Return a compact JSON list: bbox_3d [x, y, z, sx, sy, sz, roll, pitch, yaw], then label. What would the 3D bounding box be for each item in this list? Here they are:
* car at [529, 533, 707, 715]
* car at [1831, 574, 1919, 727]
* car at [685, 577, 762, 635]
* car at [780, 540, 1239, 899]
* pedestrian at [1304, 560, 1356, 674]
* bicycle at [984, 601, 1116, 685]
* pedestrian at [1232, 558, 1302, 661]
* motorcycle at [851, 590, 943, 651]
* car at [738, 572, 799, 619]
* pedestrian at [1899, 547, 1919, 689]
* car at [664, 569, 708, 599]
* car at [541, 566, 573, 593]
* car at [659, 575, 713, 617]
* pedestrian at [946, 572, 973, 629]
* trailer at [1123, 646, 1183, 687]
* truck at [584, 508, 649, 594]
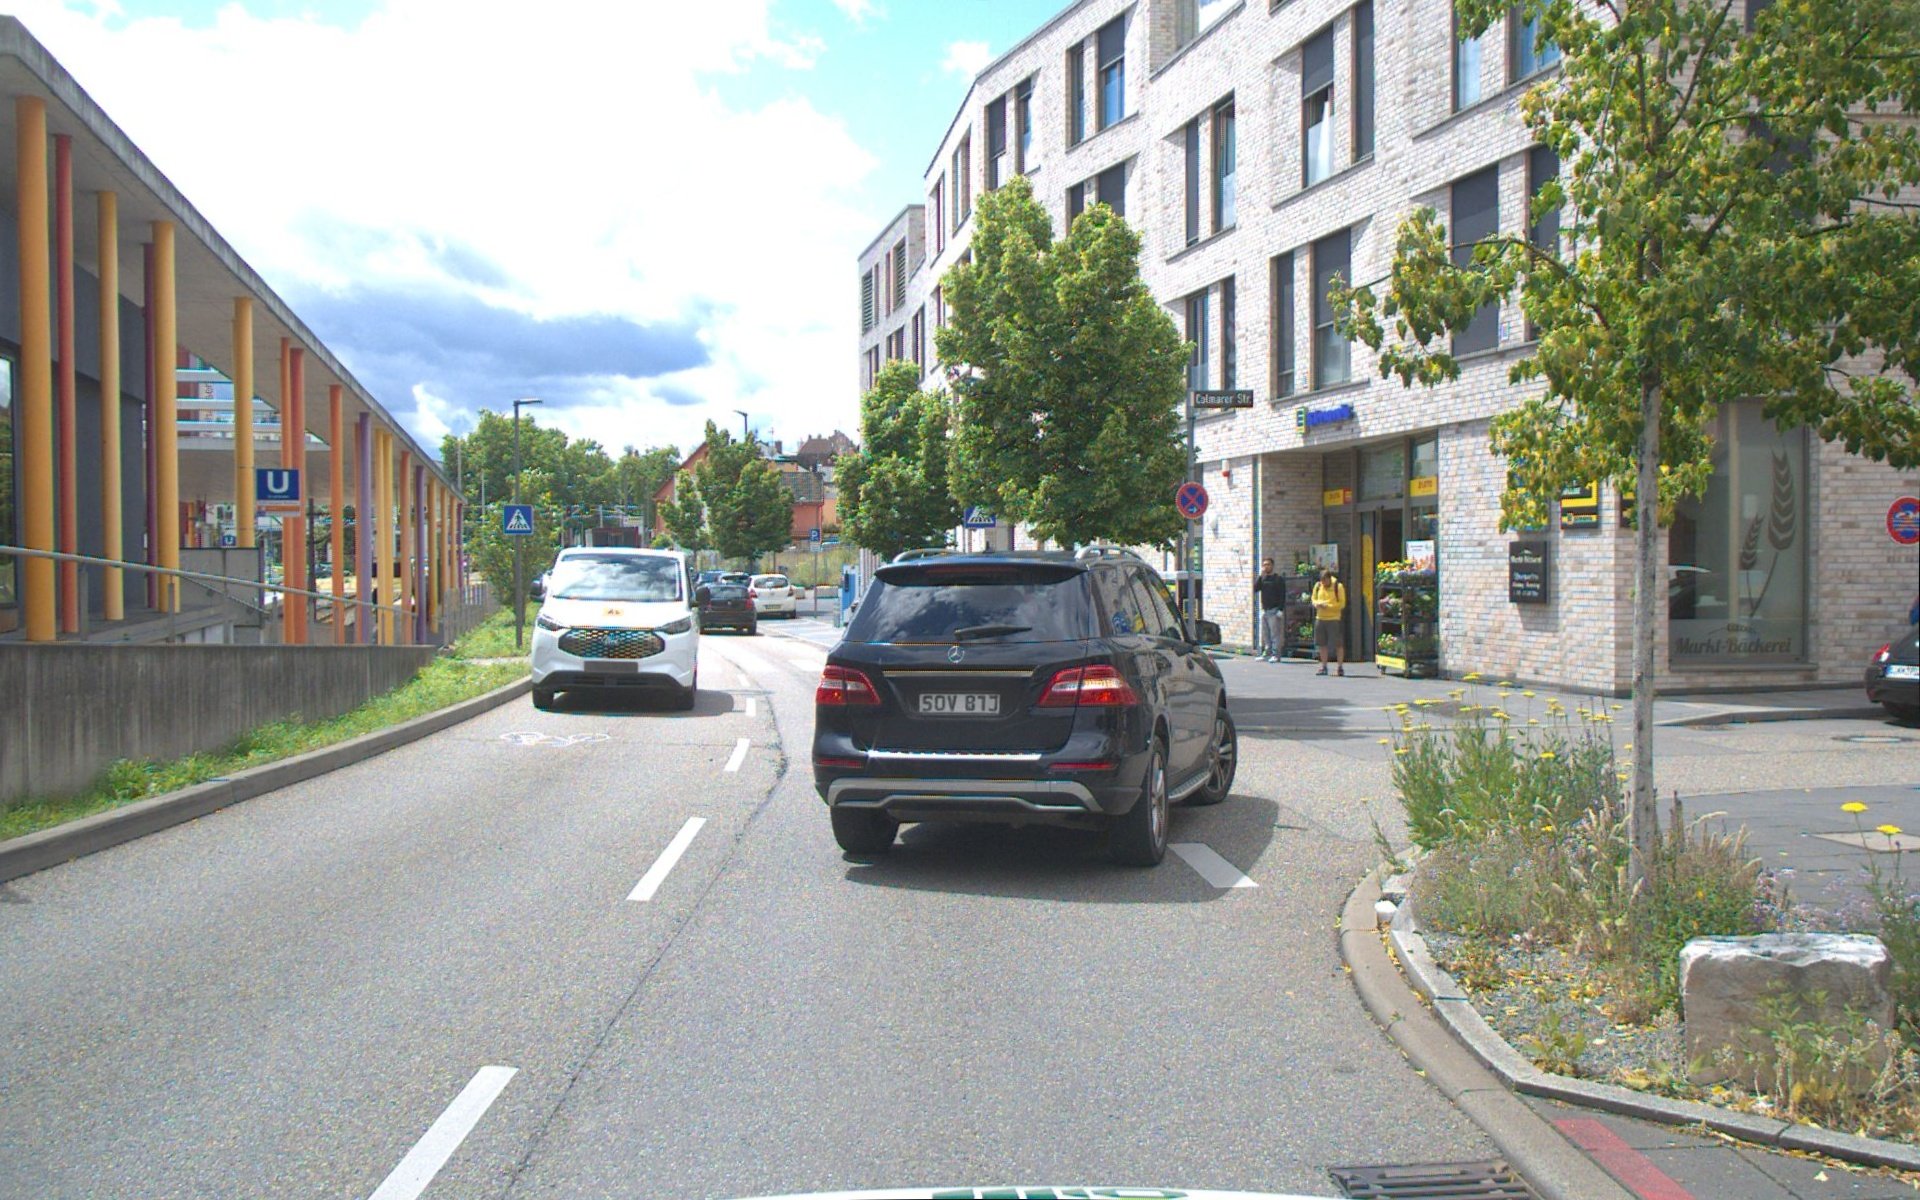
[{"bbox_3d":[-4.341,0.261,21.690,1.957,2.049,5.383,1,0,-9],"label":"car"},{"bbox_3d":[11.459,0.448,17.280,3.819,1.502,1.781,-2,1,-6],"label":"car"},{"bbox_3d":[-6.797,0.148,47.292,1.698,1.482,3.793,-1,2,-16],"label":"car"},{"bbox_3d":[0.590,0.562,10.618,1.951,1.777,4.536,-2,1,14],"label":"car"},{"bbox_3d":[5.707,0.257,25.491,0.644,1.722,0.631,-1,1,26],"label":"pedestrian"},{"bbox_3d":[1.311,0.615,24.162,1.788,1.151,0.755,-2,0,-8],"label":"bicycle"},{"bbox_3d":[5.373,0.158,28.978,0.999,1.772,0.656,-1,1,-18],"label":"pedestrian"},{"bbox_3d":[-1.428,0.470,37.755,2.007,1.288,0.673,-2,0,3],"label":"motorcycle"},{"bbox_3d":[-6.736,-0.181,57.920,1.663,1.509,3.785,-2,2,-13],"label":"car"},{"bbox_3d":[11.792,0.218,19.795,0.549,1.700,0.806,1,-1,-35],"label":"pedestrian"},{"bbox_3d":[-14.529,-0.883,87.632,1.753,1.477,4.456,-2,2,-16],"label":"car"},{"bbox_3d":[-23.275,-1.191,95.499,1.781,1.494,3.894,1,1,-14],"label":"car"},{"bbox_3d":[-10.374,-0.172,62.405,1.683,1.417,3.795,-1,2,-14],"label":"car"},{"bbox_3d":[-0.011,0.000,44.911,0.595,1.498,0.790,-2,2,-7],"label":"pedestrian"},{"bbox_3d":[2.709,0.936,23.281,0.705,0.538,0.811,0,0,-5],"label":"trailer"},{"bbox_3d":[-19.764,-2.674,94.859,3.150,4.615,8.992,0,0,-15],"label":"truck"}]
